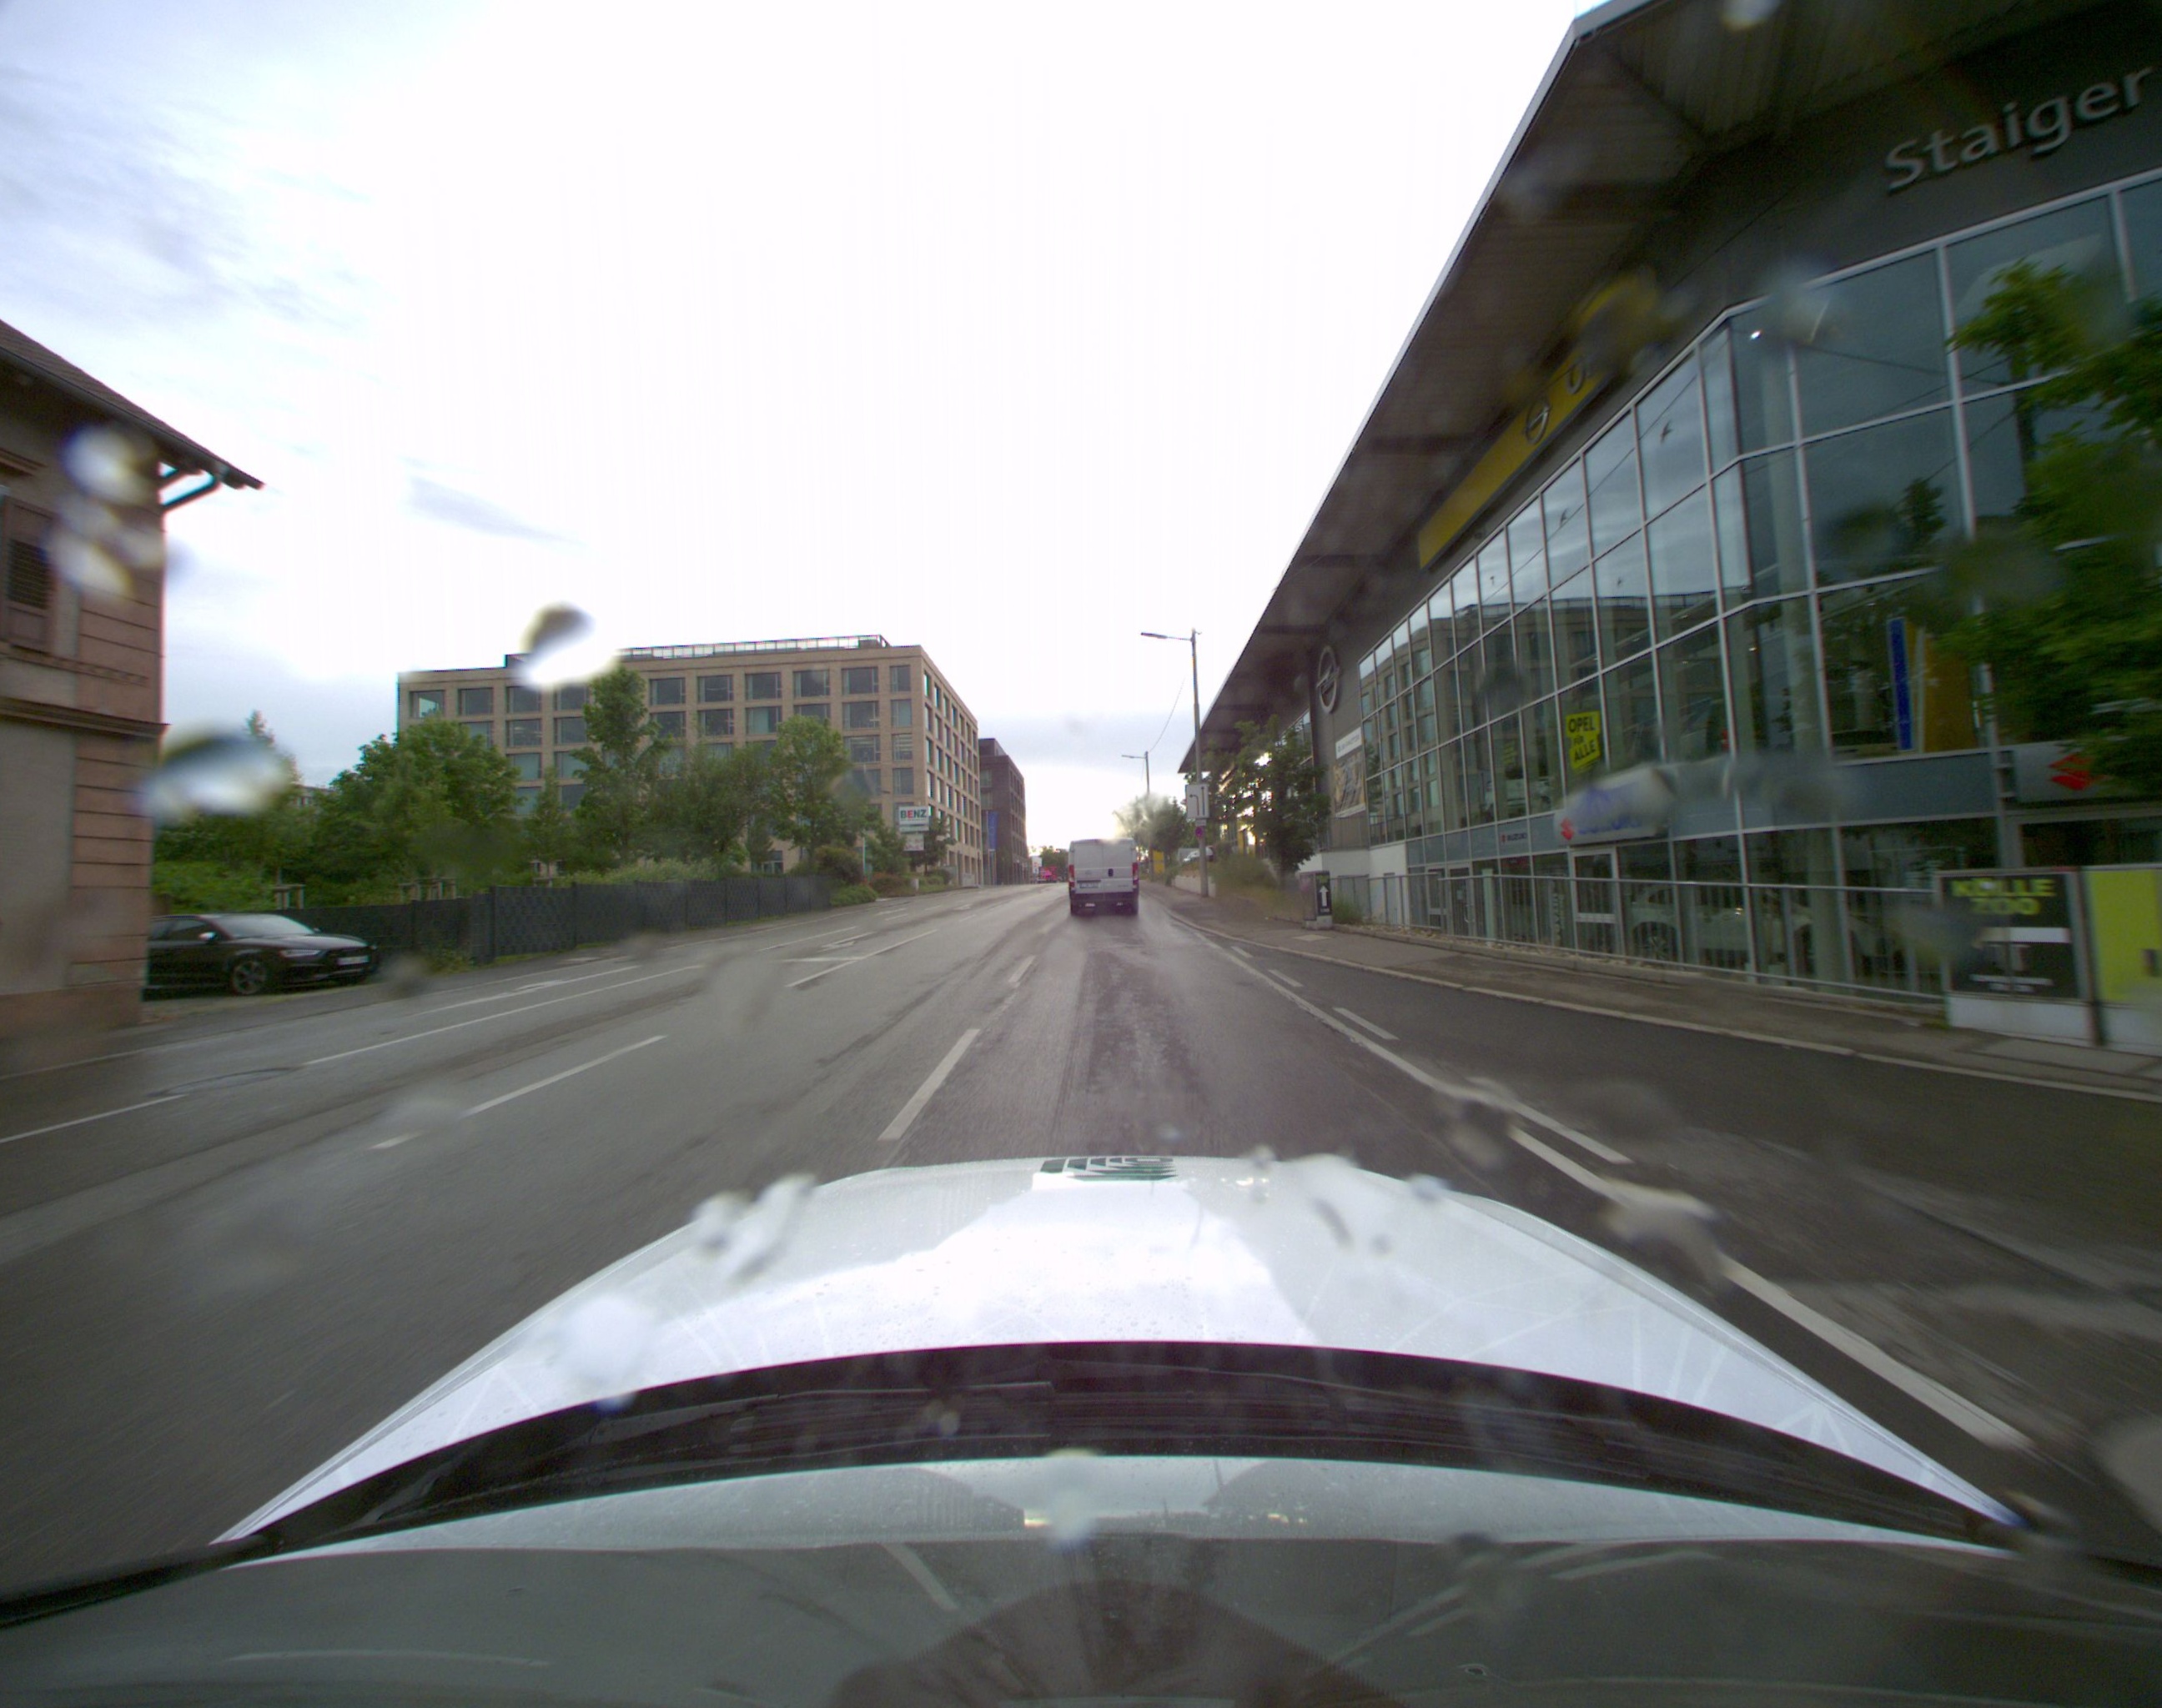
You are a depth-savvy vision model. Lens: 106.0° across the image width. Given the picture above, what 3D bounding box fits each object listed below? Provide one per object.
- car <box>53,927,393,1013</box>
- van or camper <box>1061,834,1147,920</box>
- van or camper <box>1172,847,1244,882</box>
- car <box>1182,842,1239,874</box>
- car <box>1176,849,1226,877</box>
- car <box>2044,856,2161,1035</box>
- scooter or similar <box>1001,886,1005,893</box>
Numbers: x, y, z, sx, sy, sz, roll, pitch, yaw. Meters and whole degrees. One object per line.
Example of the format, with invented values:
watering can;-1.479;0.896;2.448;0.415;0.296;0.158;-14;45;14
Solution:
car;-14.524;1.941;13.974;3.977;1.163;1.605;-1;-2;-3
van or camper;0.768;0.706;25.472;2.330;2.357;5.202;-2;-1;3
van or camper;10.643;0.900;68.545;5.716;2.724;2.352;-2;-2;1
car;7.973;0.272;49.801;1.975;1.711;4.455;-5;-3;28
car;8.074;0.609;54.584;1.975;1.711;4.604;-5;-3;25
car;11.183;0.706;6.536;3.949;1.508;1.909;-4;-5;29
scooter or similar;-11.314;5.174;118.376;0.349;1.072;1.429;-2;-3;3
